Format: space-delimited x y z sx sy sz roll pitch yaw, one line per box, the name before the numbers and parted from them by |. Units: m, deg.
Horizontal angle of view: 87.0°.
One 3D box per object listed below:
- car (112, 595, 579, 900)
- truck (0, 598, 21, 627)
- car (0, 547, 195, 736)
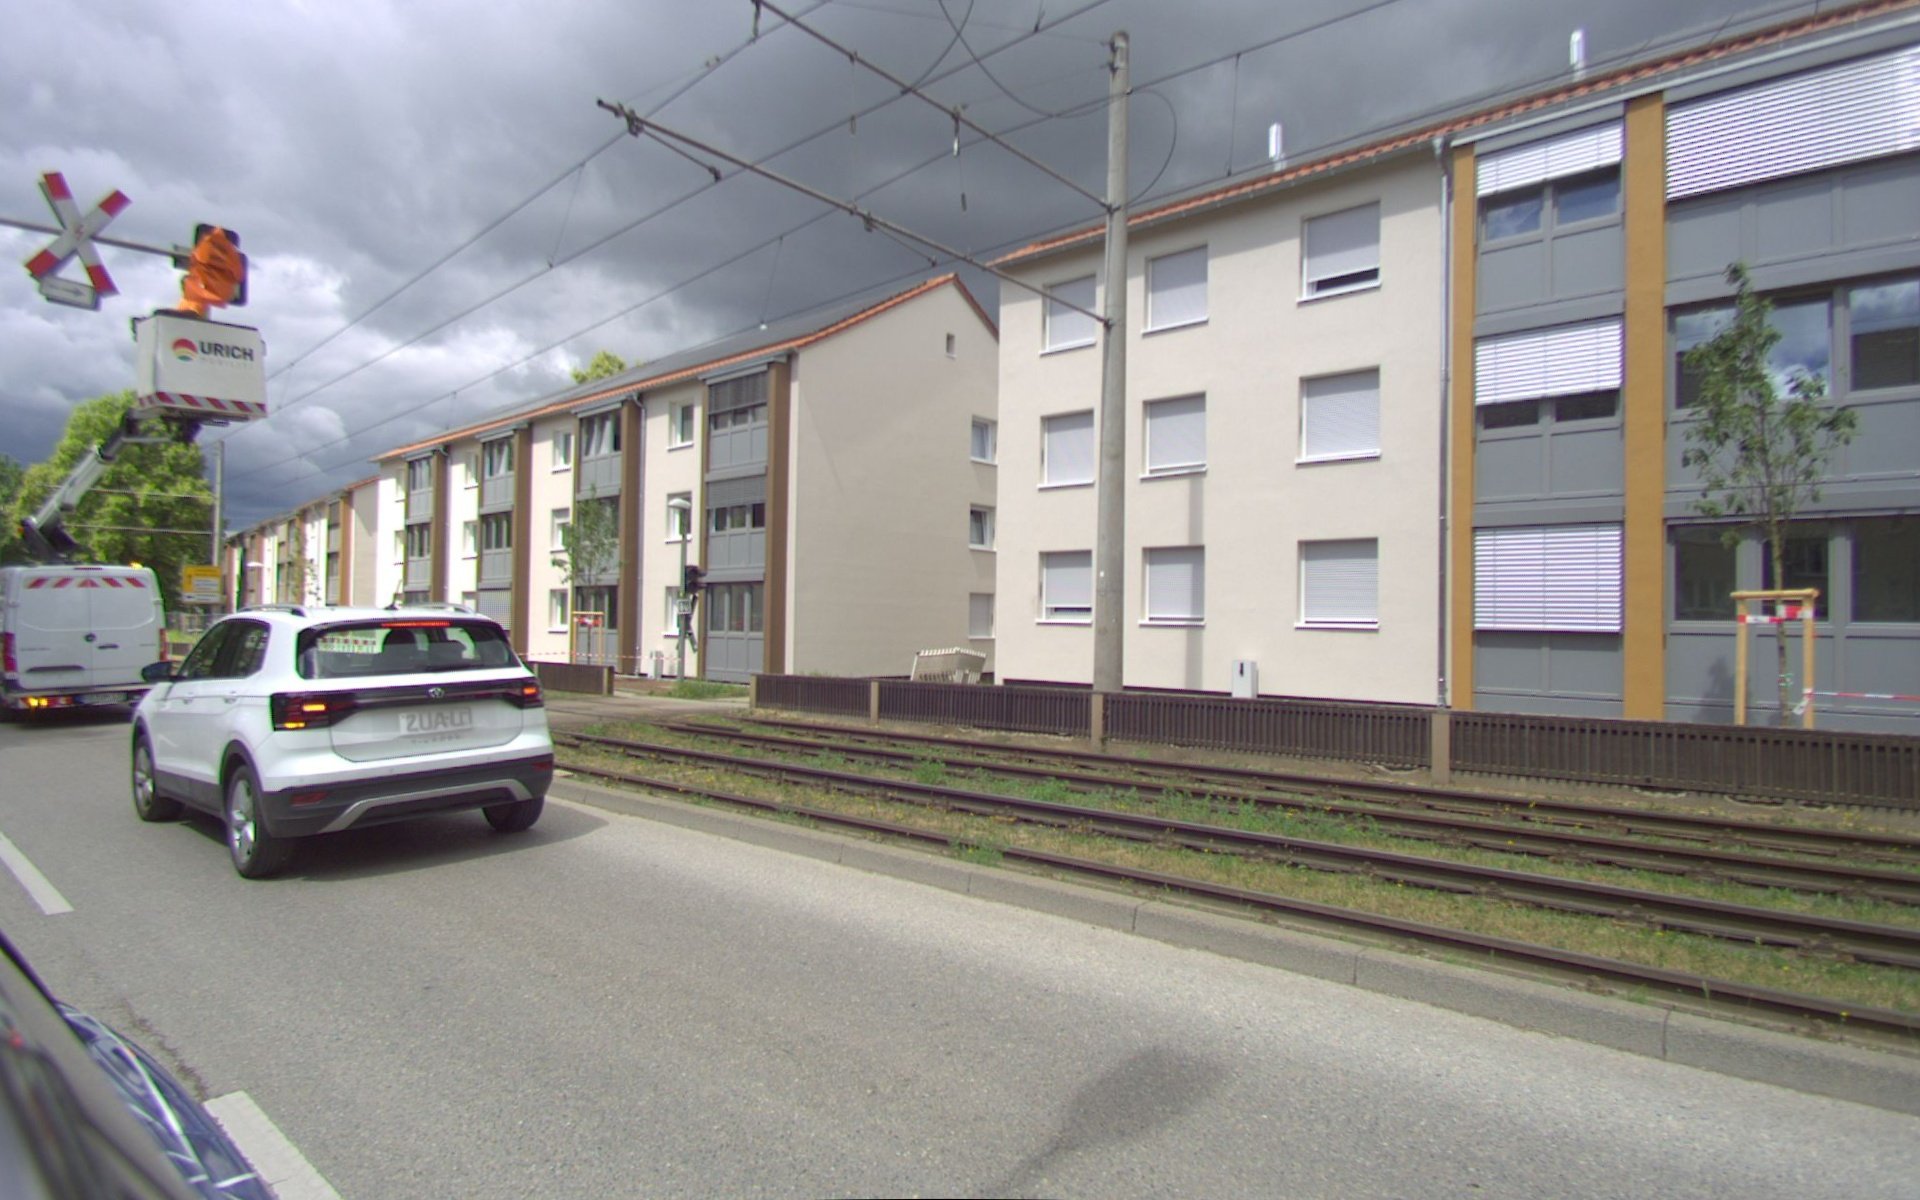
car | -4.471 0.786 7.122 3.915 1.564 1.700 -1 -1 41
truck | -88.318 1.131 91.869 2.377 2.588 5.600 1 -2 -19
car | -14.086 0.604 15.894 6.316 2.449 1.973 -1 -1 40
